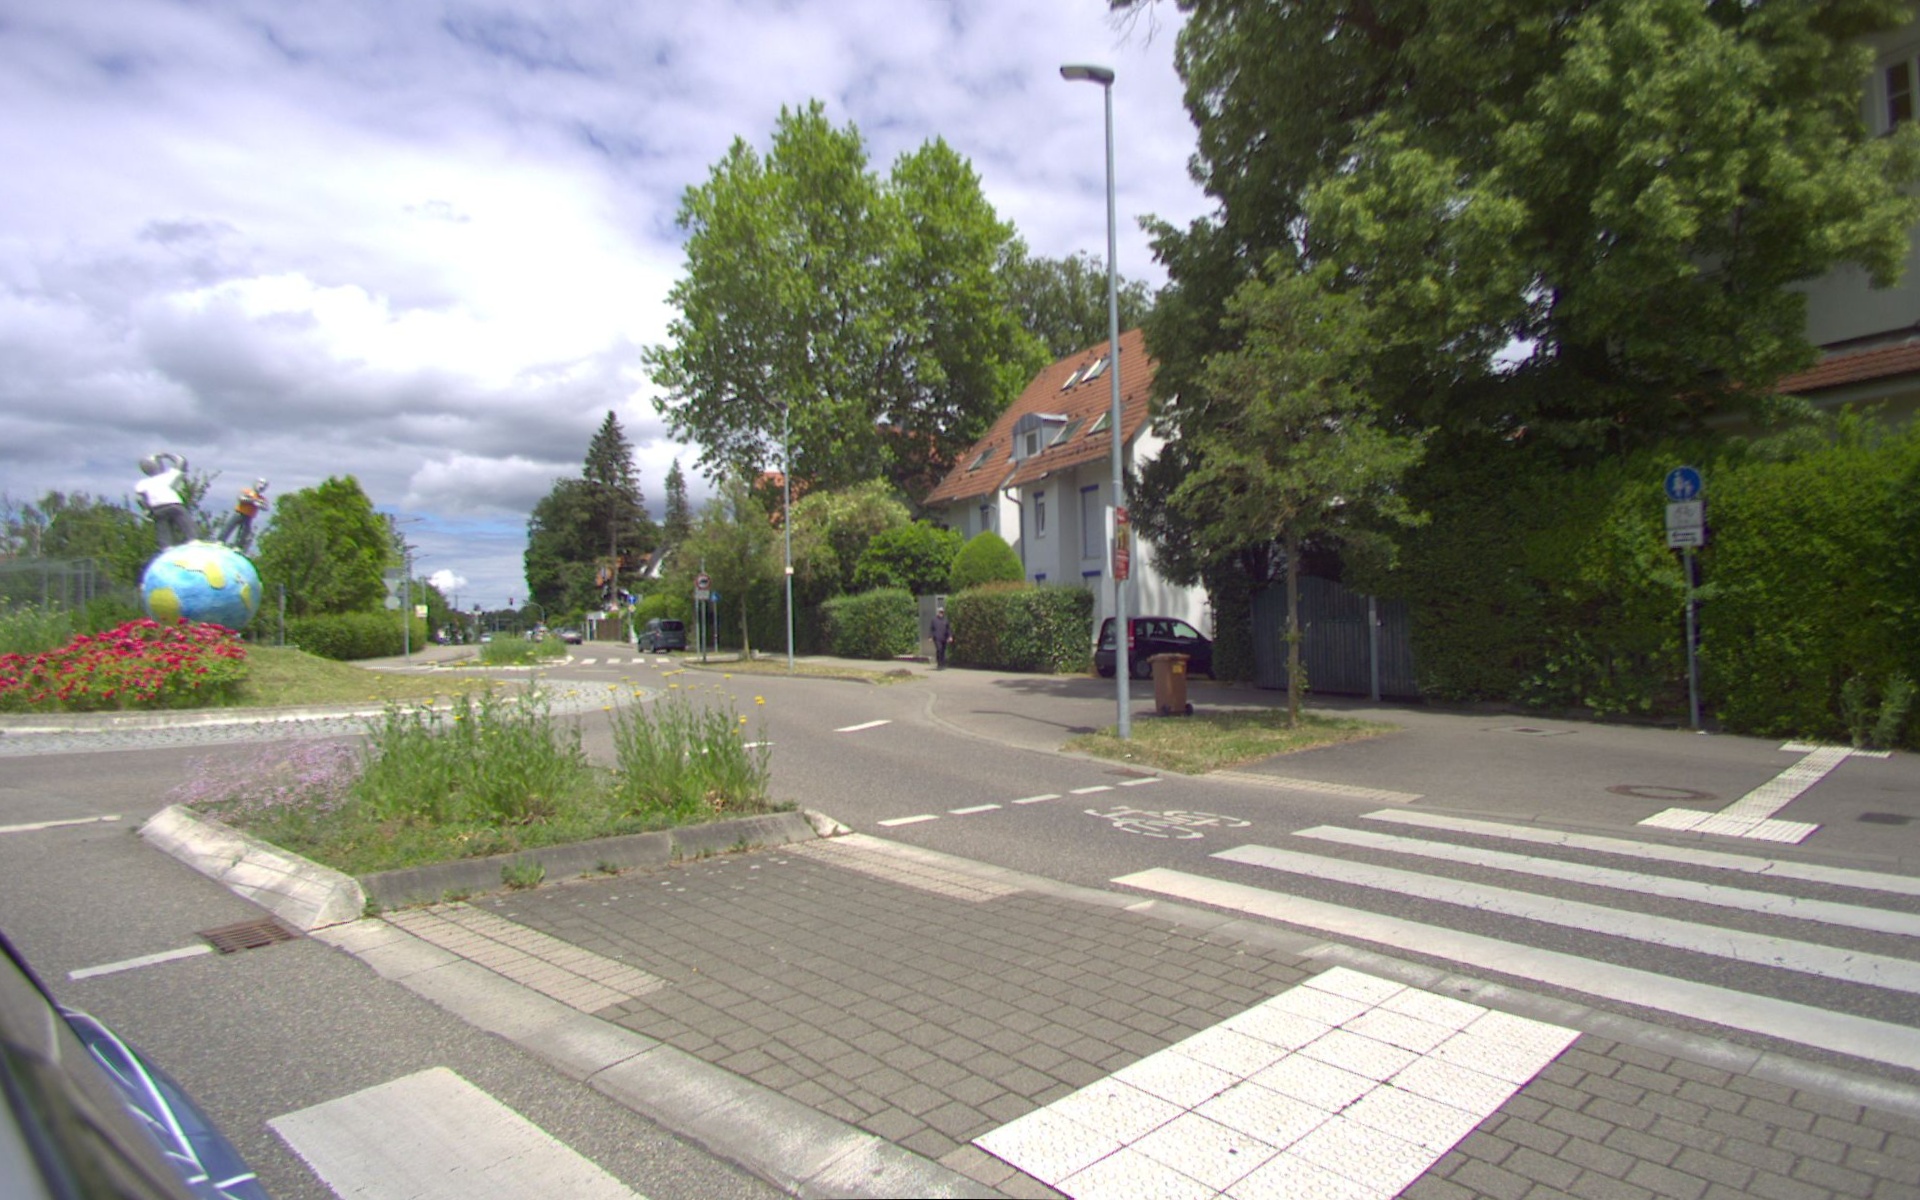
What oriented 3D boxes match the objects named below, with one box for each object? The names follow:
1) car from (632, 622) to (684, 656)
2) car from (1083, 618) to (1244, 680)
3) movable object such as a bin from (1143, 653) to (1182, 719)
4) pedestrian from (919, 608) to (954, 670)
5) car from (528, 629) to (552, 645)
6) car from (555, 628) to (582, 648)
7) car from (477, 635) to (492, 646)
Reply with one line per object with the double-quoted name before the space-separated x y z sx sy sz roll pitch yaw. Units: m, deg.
"car" -15.702 2.000 52.461 1.653 1.674 4.012 0 -1 -31
"car" 4.942 1.193 24.541 3.517 1.408 1.671 2 -2 -26
"movable object such as a bin" 3.009 1.265 15.023 0.411 0.942 0.436 -1 -2 35
"pedestrian" -0.680 1.103 28.798 0.733 1.704 0.697 -1 0 -25
"car" -47.789 4.173 115.126 1.966 1.719 4.012 1 -2 -31
"car" -33.775 3.250 87.245 1.831 1.589 4.013 -1 0 -26
"car" -74.632 6.351 158.944 1.965 1.719 4.013 0 -2 -27
